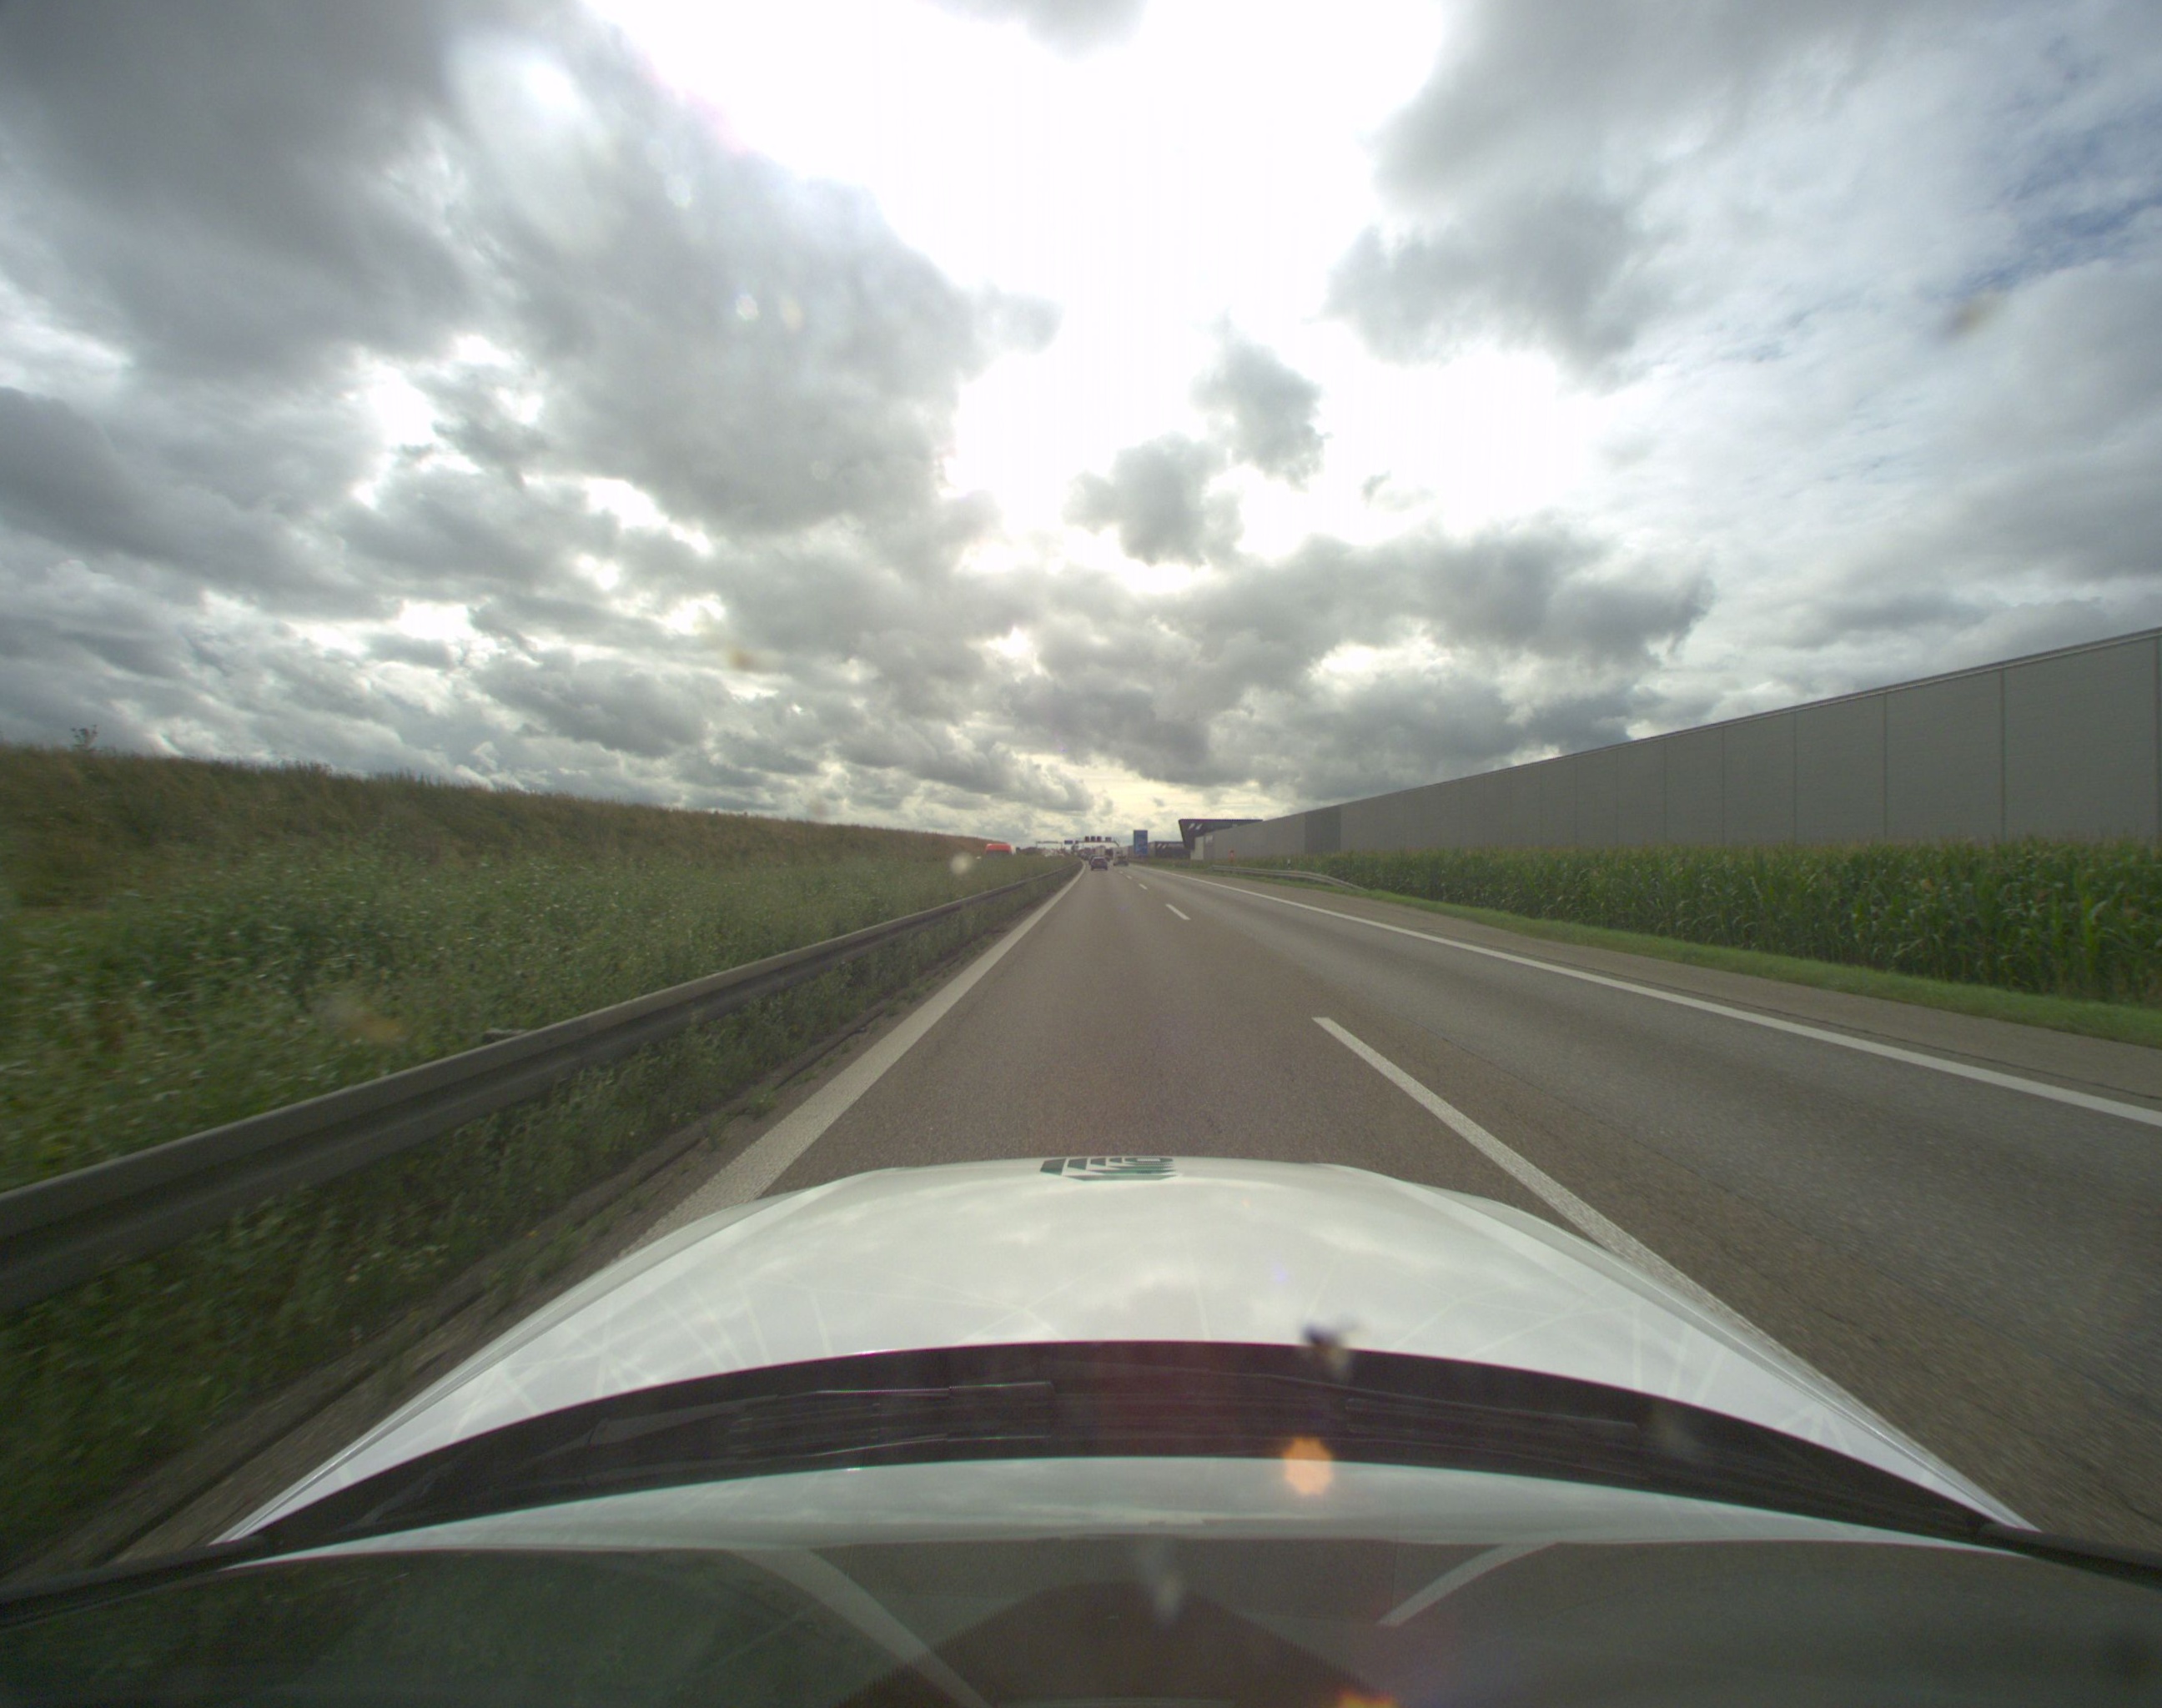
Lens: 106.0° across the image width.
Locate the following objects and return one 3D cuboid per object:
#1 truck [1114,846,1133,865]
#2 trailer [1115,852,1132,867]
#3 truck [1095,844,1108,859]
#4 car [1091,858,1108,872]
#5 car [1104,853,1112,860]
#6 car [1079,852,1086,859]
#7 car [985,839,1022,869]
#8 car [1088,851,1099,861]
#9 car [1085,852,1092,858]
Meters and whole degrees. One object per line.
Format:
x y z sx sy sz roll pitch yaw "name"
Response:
6.641 0.202 128.277 2.475 2.950 5.811 0 0 -1 "truck"
6.318 0.860 121.367 2.330 2.136 4.000 0 0 1 "trailer"
6.104 -0.740 243.512 3.330 4.534 8.012 0 -1 -1 "truck"
1.978 1.199 88.181 1.740 1.453 4.001 0 0 1 "car"
6.543 0.612 196.848 1.795 1.685 4.000 0 0 0 "car"
0.431 0.429 260.359 1.986 2.014 4.001 0 0 1 "car"
-5.959 0.029 63.153 2.116 2.267 5.455 0 0 2 "car"
2.242 0.394 146.618 1.939 1.685 4.000 0 0 1 "car"
2.167 0.358 228.021 1.936 1.775 3.696 0 0 1 "car"
